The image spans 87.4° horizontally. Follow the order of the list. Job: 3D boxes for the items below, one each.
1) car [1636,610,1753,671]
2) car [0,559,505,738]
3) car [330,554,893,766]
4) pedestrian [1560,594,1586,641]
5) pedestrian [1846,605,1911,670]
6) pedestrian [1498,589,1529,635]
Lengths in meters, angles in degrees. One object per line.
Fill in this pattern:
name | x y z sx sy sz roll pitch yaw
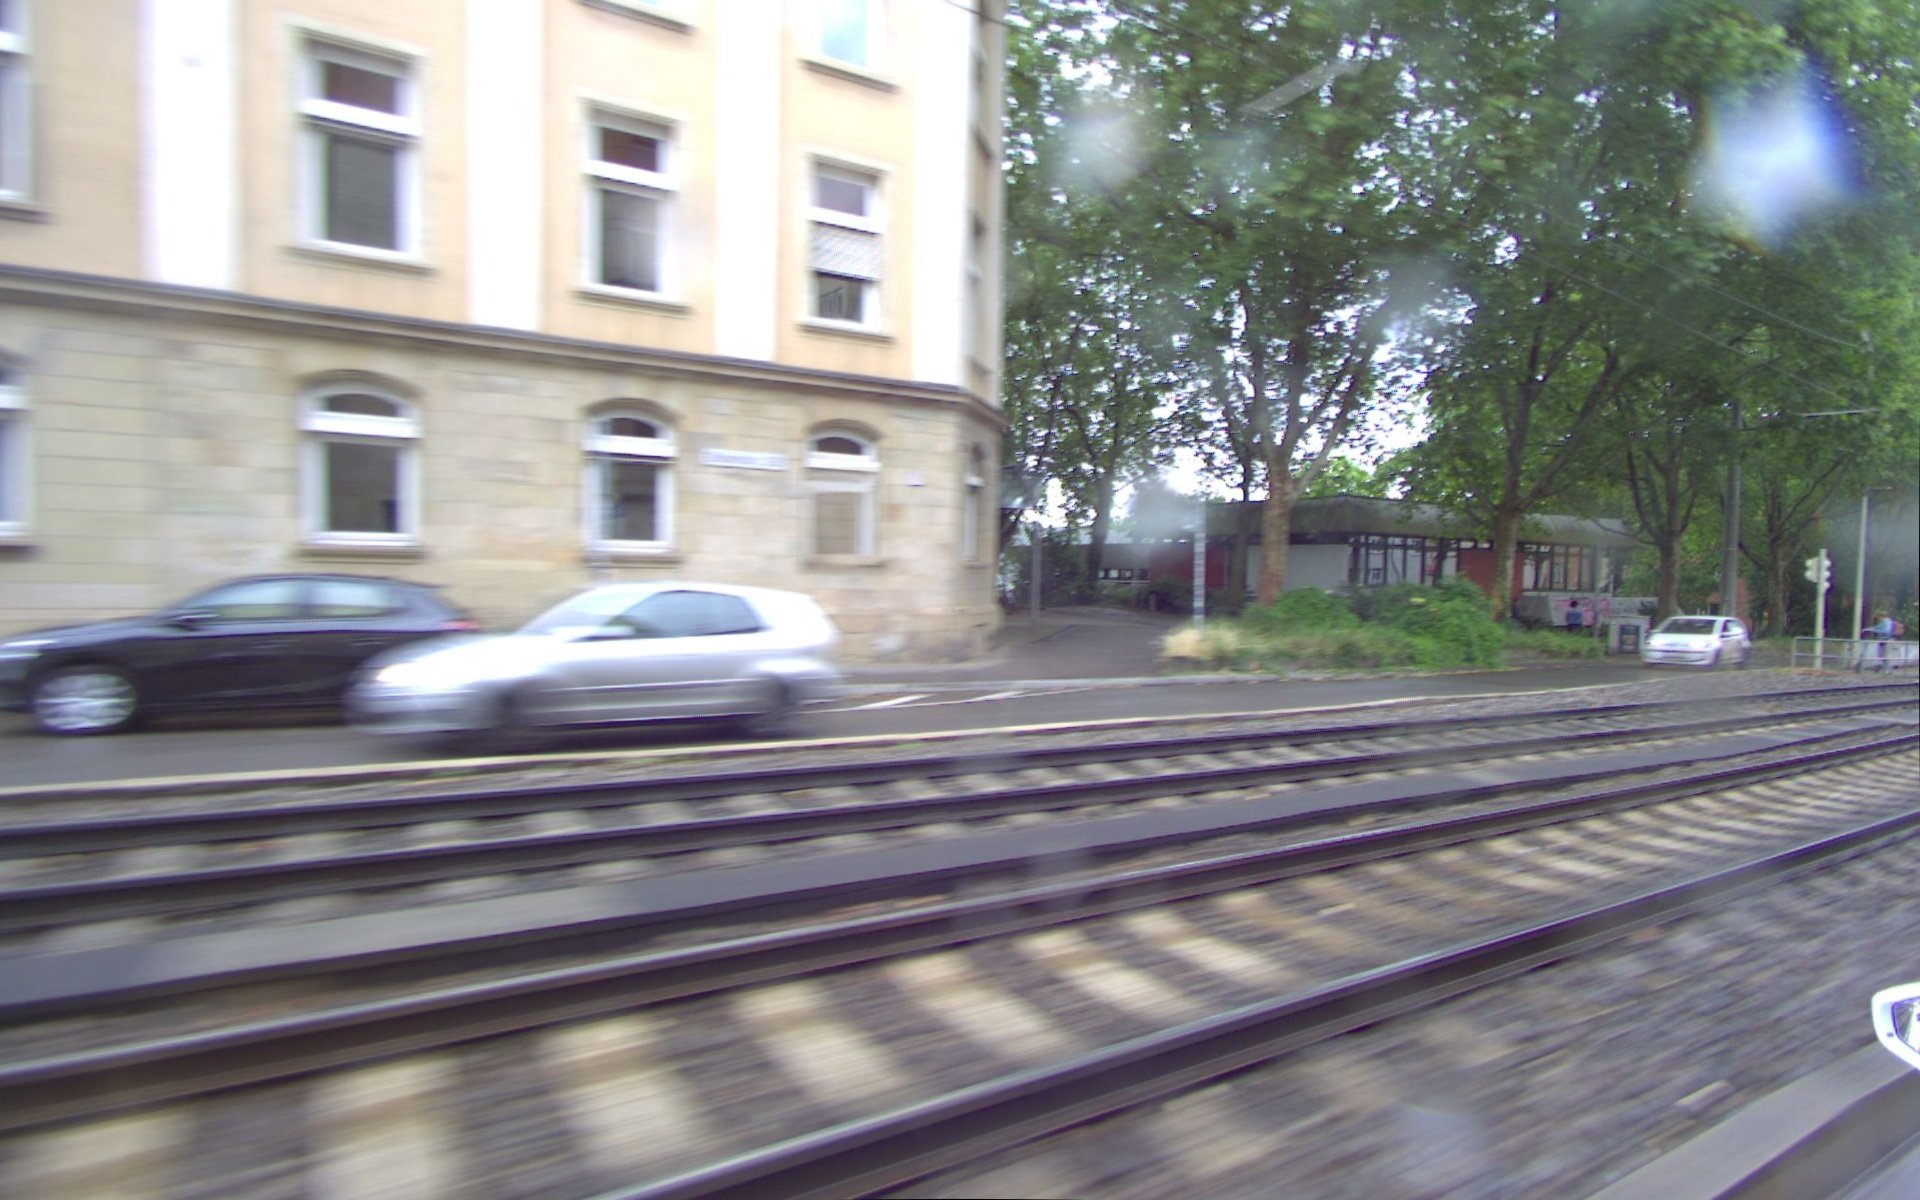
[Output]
car | 20.272 1.092 27.683 3.752 1.517 1.645 1 0 -38
car | -6.600 0.418 9.768 3.807 1.448 1.606 1 0 -31
car | -3.052 0.463 9.293 4.589 1.525 1.804 2 0 -36
pedestrian | 22.273 0.647 36.490 0.684 1.684 0.638 1 0 41
pedestrian | 25.534 1.031 27.921 0.893 1.742 1.050 1 1 -28
pedestrian | 21.058 0.454 38.202 1.003 1.705 0.614 1 -1 -29
